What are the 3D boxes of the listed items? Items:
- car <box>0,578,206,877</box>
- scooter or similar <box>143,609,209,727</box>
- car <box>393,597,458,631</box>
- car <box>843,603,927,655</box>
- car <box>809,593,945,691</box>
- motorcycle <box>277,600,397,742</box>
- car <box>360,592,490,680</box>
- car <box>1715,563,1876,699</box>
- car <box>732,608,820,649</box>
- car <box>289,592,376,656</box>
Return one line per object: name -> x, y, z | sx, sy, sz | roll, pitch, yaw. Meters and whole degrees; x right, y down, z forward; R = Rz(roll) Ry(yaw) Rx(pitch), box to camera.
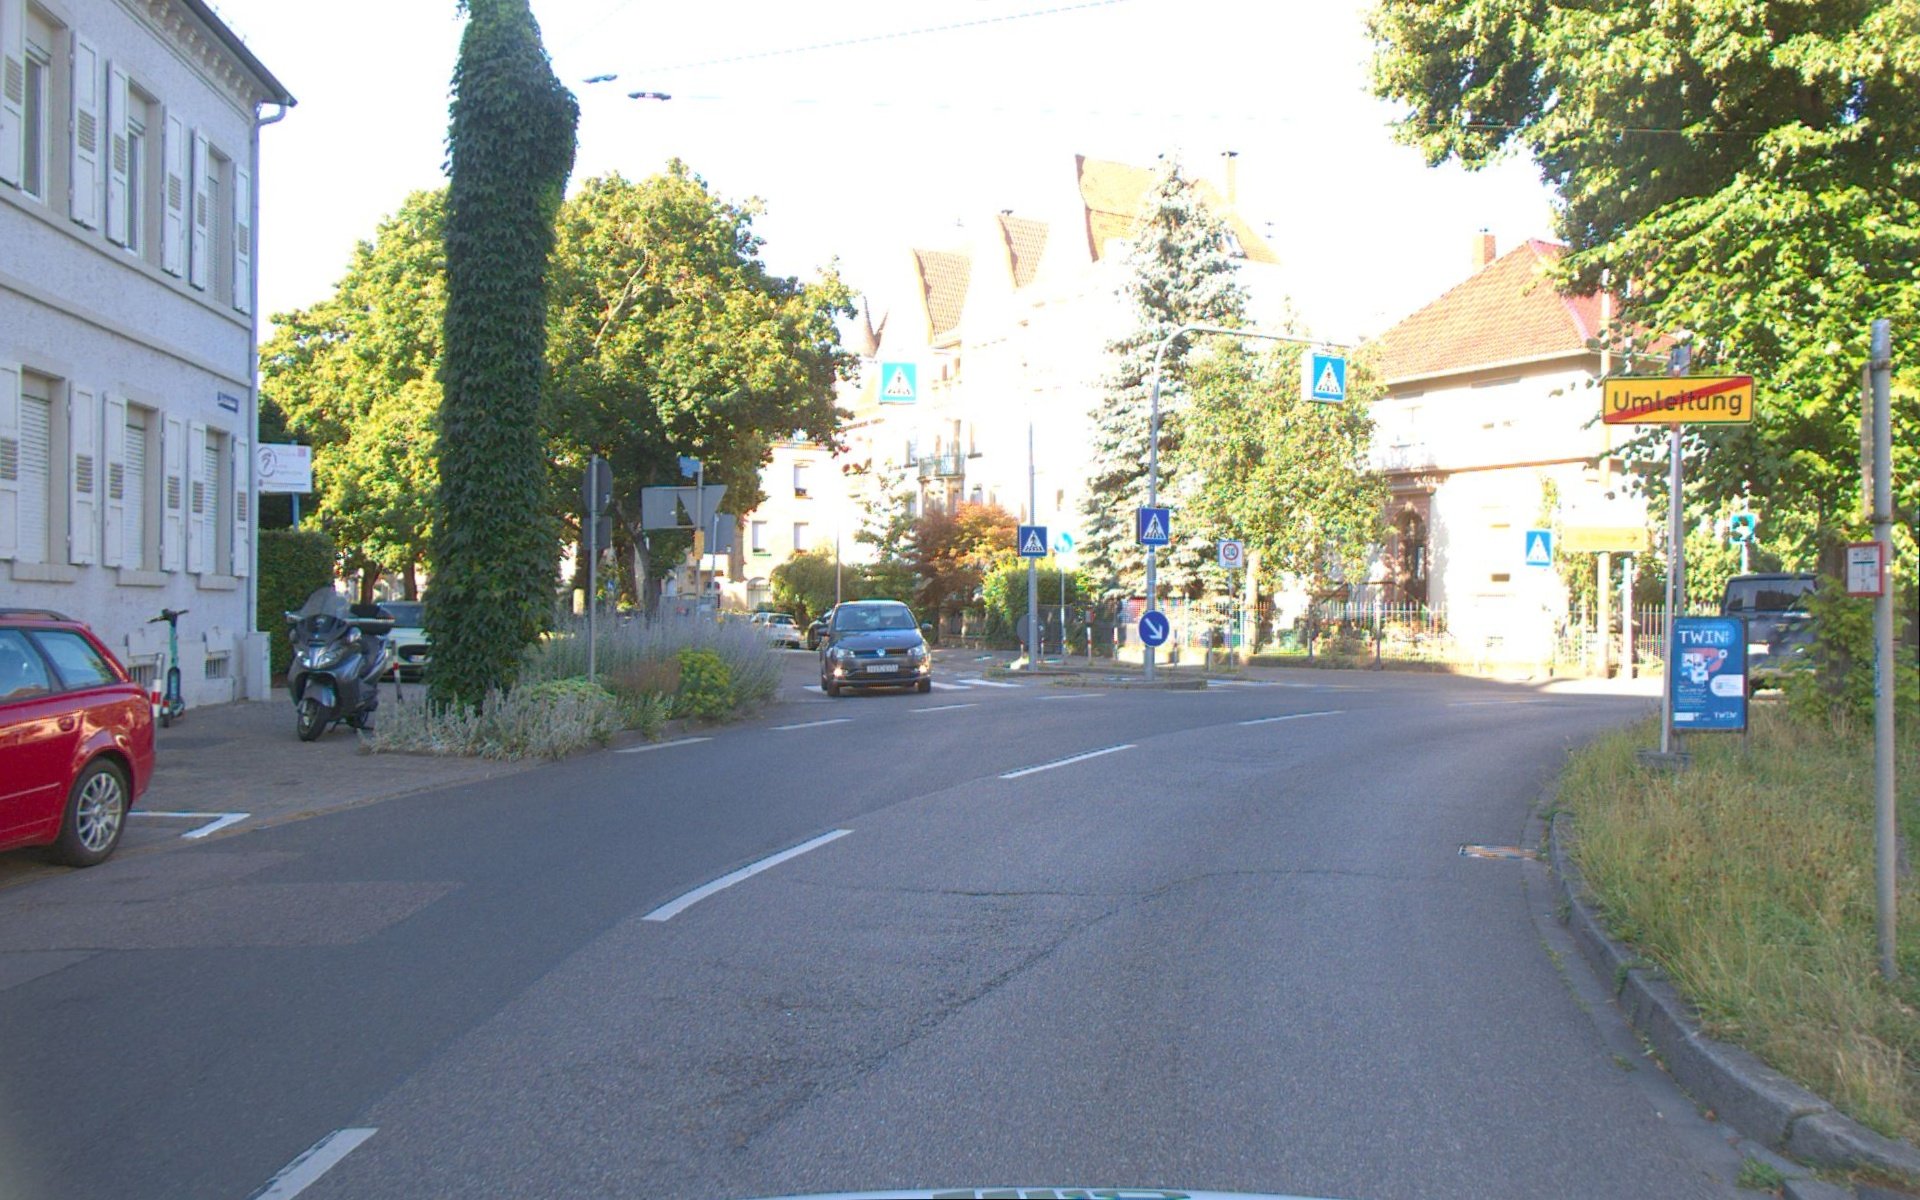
car -> -5.724, 0.635, 8.162 | 1.673, 1.492, 4.593 | 2, 0, 3
scooter or similar -> -8.642, 0.730, 18.269 | 0.501, 1.251, 1.531 | 1, -1, -21
car -> -33.953, 0.865, 104.970 | 2.324, 2.076, 4.860 | 2, -1, -39
car -> -2.529, 0.936, 54.816 | 1.960, 1.624, 3.984 | 1, -1, -15
car -> -1.413, 0.641, 26.707 | 1.682, 1.428, 3.728 | -2, 0, -11
motorcycle -> -6.532, 0.717, 17.486 | 0.915, 1.381, 2.554 | 1, -1, -15
car -> -10.359, 0.673, 31.862 | 1.786, 1.563, 3.875 | 2, -1, -27
car -> 13.769, 0.467, 27.141 | 1.958, 2.049, 3.989 | 1, 0, 32
car -> -7.828, 1.175, 70.003 | 2.310, 1.624, 4.891 | 2, -1, -24
car -> -17.775, 0.678, 46.764 | 1.911, 1.692, 4.472 | 2, -1, -26
